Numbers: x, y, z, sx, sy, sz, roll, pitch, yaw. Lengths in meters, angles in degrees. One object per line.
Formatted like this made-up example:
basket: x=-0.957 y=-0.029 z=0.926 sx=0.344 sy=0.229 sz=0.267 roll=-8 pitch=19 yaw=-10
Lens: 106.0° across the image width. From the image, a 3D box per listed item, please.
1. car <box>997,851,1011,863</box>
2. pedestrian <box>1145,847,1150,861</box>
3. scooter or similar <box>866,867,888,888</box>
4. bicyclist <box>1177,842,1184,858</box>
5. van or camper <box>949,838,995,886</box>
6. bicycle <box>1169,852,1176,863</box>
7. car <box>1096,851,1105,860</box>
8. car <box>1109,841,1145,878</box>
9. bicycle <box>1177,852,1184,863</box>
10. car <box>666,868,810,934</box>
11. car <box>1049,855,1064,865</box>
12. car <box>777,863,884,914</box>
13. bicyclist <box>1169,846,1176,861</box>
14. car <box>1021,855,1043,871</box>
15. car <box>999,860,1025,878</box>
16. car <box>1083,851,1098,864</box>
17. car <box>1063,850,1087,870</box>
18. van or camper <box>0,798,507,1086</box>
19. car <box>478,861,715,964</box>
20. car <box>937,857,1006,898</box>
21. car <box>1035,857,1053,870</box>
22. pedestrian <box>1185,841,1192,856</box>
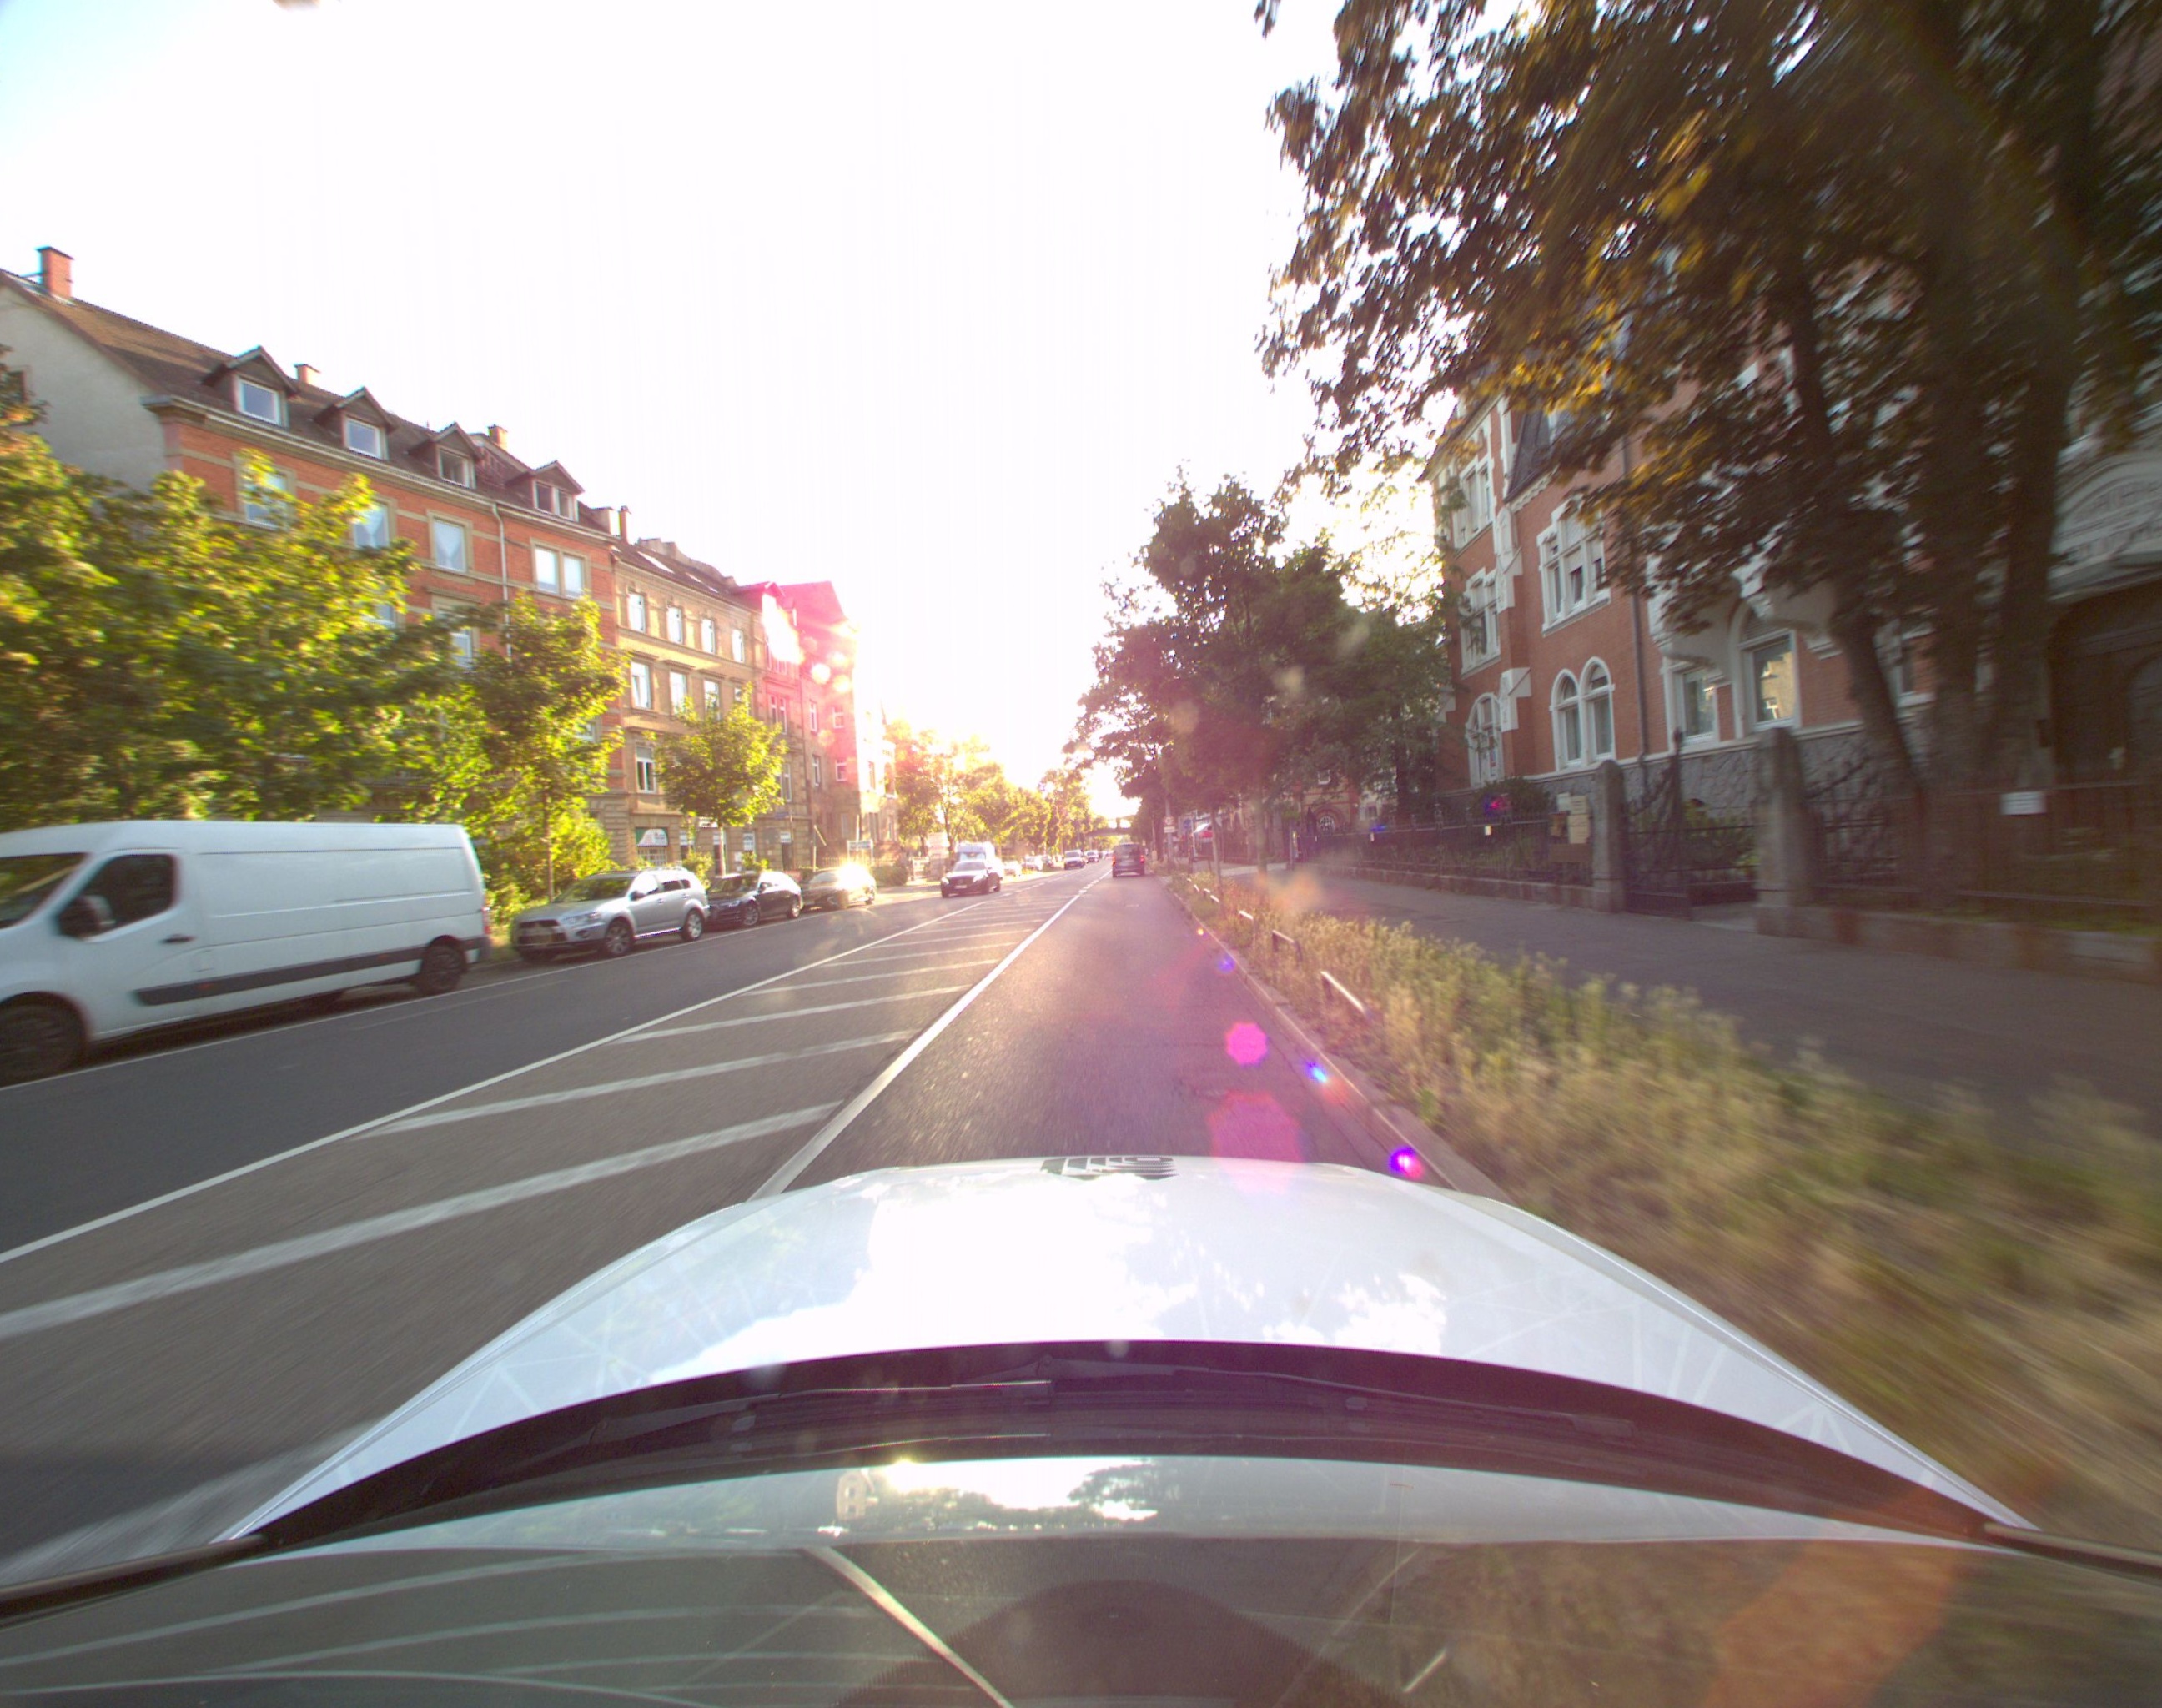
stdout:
car: x=-15.471 y=0.637 z=163.265 sx=1.985 sy=2.307 sz=5.250 roll=-2 pitch=0 yaw=4
pedestrian: x=9.180 y=-0.050 z=112.145 sx=0.504 sy=1.888 sz=0.543 roll=-2 pitch=0 yaw=-11
scooter or similar: x=-11.560 y=1.335 z=46.188 sx=1.124 sy=1.057 sz=0.285 roll=-5 pitch=0 yaw=-44
bicyclist: x=9.756 y=-0.357 z=79.880 sx=0.593 sy=1.532 sz=0.894 roll=-2 pitch=0 yaw=3
van or camper: x=-6.535 y=0.447 z=49.468 sx=1.987 sy=2.668 sz=6.036 roll=-2 pitch=0 yaw=-1
bicycle: x=9.064 y=0.353 z=80.412 sx=0.542 sy=1.040 sz=2.091 roll=-2 pitch=0 yaw=3
car: x=3.959 y=0.332 z=163.836 sx=1.672 sy=1.530 sz=4.004 roll=-5 pitch=0 yaw=3
car: x=2.706 y=0.295 z=47.446 sx=1.879 sy=1.925 sz=3.844 roll=-4 pitch=0 yaw=4
bicycle: x=9.707 y=0.350 z=79.743 sx=0.515 sy=1.040 sz=2.091 roll=-2 pitch=0 yaw=3
car: x=-9.307 y=1.201 z=22.563 sx=1.729 sy=1.445 sz=4.629 roll=-3 pitch=0 yaw=3
car: x=-3.915 y=0.936 z=130.234 sx=1.985 sy=1.414 sz=4.241 roll=-2 pitch=0 yaw=4
car: x=-8.703 y=1.139 z=28.820 sx=1.985 sy=1.483 sz=4.833 roll=-3 pitch=0 yaw=3
bicyclist: x=9.066 y=-0.061 z=80.476 sx=0.593 sy=1.532 sz=0.894 roll=-2 pitch=0 yaw=3
car: x=-4.723 y=0.880 z=78.618 sx=1.690 sy=1.451 sz=4.003 roll=-2 pitch=0 yaw=2
car: x=-5.362 y=1.170 z=63.604 sx=1.530 sy=1.248 sz=3.616 roll=-2 pitch=0 yaw=2
car: x=1.428 y=0.507 z=120.209 sx=1.826 sy=1.852 sz=4.477 roll=-4 pitch=0 yaw=3
car: x=-0.619 y=0.609 z=85.807 sx=1.984 sy=1.831 sz=5.176 roll=-4 pitch=0 yaw=4
van or camper: x=-10.232 y=0.806 z=9.583 sx=2.082 sy=2.468 sz=6.310 roll=-4 pitch=0 yaw=3
car: x=-9.655 y=1.071 z=16.780 sx=1.858 sy=1.645 sz=4.575 roll=-4 pitch=0 yaw=3
car: x=-4.363 y=0.891 z=33.131 sx=1.758 sy=1.402 sz=4.550 roll=-4 pitch=0 yaw=4
car: x=-4.120 y=1.072 z=91.172 sx=1.631 sy=1.385 sz=4.003 roll=-2 pitch=0 yaw=3
pedestrian: x=12.048 y=-0.644 z=91.293 sx=0.642 sy=1.633 sz=0.657 roll=-2 pitch=0 yaw=4
